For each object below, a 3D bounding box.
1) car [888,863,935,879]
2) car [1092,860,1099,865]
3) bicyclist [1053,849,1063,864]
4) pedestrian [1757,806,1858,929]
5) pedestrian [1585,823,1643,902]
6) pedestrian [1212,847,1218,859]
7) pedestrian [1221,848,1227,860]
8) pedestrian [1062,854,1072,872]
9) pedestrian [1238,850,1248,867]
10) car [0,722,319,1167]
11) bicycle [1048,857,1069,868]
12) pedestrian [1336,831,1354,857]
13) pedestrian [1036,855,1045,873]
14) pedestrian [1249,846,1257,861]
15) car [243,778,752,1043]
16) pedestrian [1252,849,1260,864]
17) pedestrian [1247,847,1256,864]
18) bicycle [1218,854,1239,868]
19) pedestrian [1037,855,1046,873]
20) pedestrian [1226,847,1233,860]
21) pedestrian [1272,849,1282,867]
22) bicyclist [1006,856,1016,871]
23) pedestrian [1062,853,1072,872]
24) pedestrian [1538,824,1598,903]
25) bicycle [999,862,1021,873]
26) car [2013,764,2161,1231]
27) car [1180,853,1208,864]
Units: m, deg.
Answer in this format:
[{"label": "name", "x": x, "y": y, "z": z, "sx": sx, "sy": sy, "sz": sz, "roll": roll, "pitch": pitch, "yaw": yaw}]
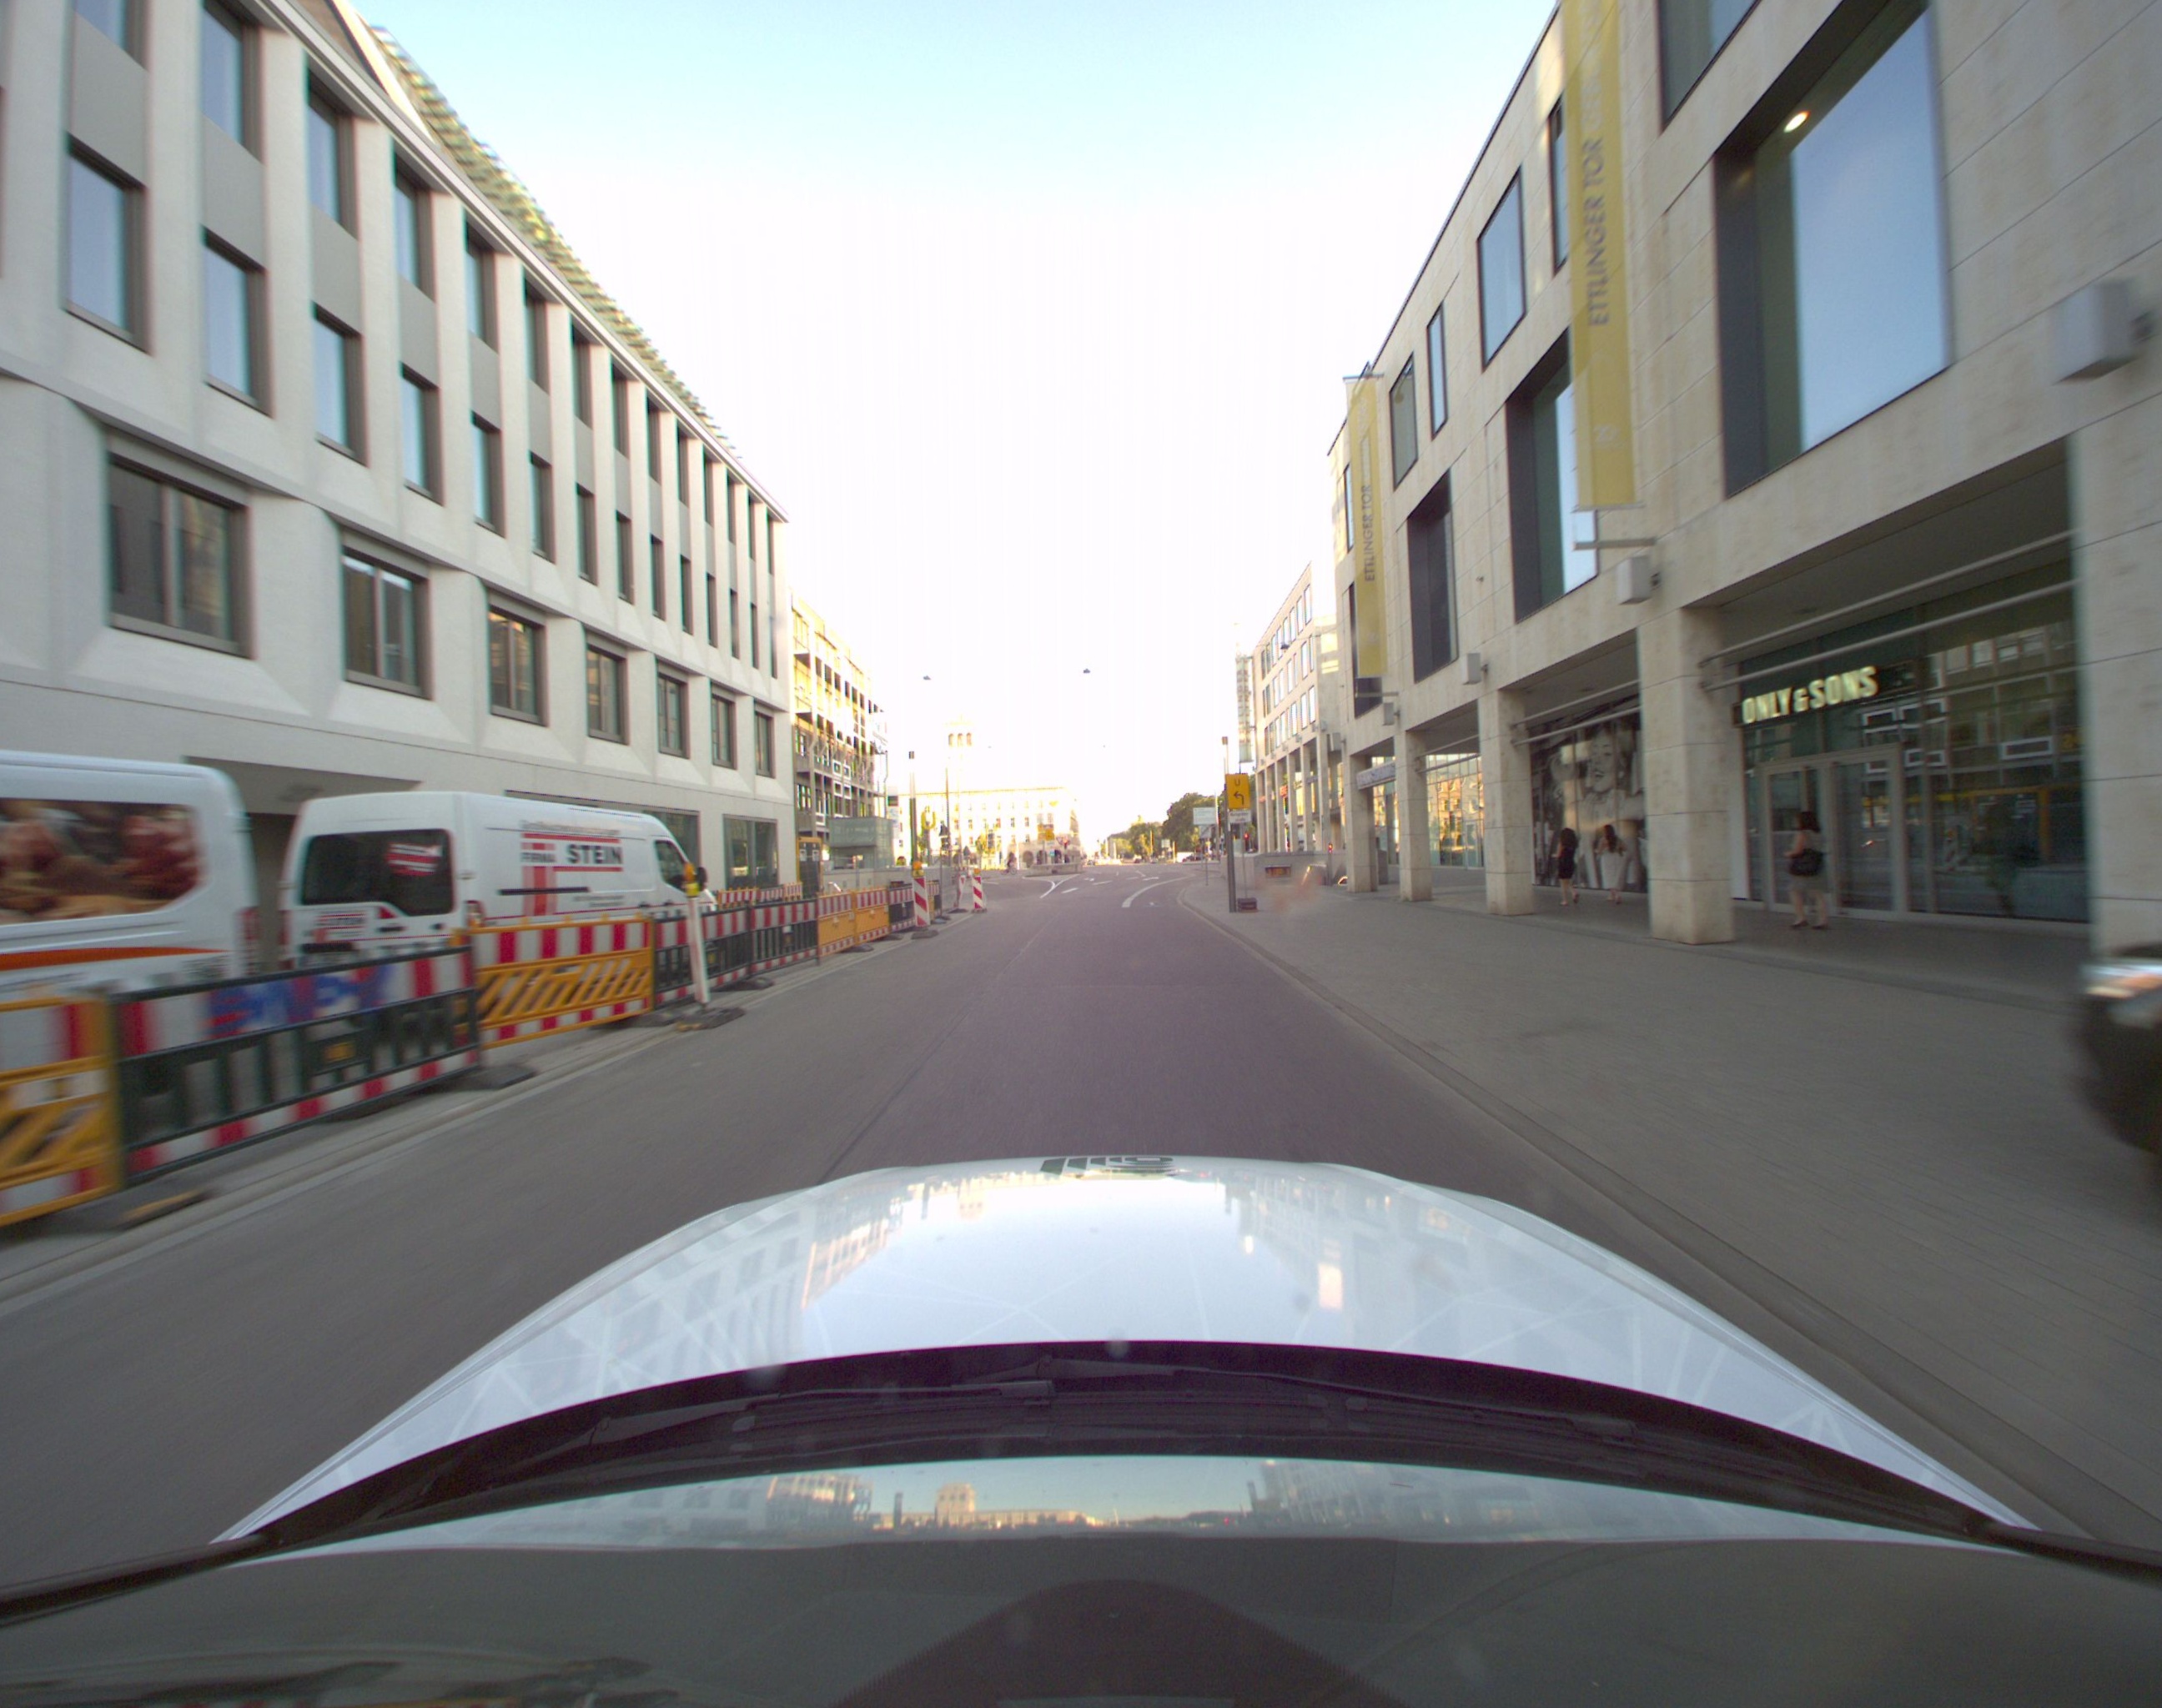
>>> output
[{"label": "car", "x": -19.318, "y": 1.927, "z": 92.927, "sx": 4.778, "sy": 1.496, "sz": 2.129, "roll": -2, "pitch": 0, "yaw": 2}, {"label": "car", "x": 4.451, "y": 2.641, "z": 249.313, "sx": 1.984, "sy": 1.519, "sz": 4.005, "roll": -3, "pitch": 0, "yaw": 4}, {"label": "bicyclist", "x": -2.469, "y": 0.278, "z": 88.112, "sx": 1.015, "sy": 1.621, "sz": 0.654, "roll": -2, "pitch": 0, "yaw": 2}, {"label": "pedestrian", "x": 9.702, "y": 0.163, "z": 10.900, "sx": 0.631, "sy": 1.567, "sz": 0.775, "roll": -2, "pitch": 1, "yaw": 2}, {"label": "pedestrian", "x": 10.741, "y": 0.165, "z": 16.431, "sx": 0.631, "sy": 1.542, "sz": 0.775, "roll": -2, "pitch": -1, "yaw": 2}, {"label": "pedestrian", "x": 19.210, "y": -0.109, "z": 116.786, "sx": 0.805, "sy": 1.730, "sz": 0.688, "roll": -2, "pitch": 0, "yaw": 1}, {"label": "pedestrian", "x": 20.543, "y": -0.035, "z": 116.894, "sx": 0.802, "sy": 1.730, "sz": 0.691, "roll": -2, "pitch": 0, "yaw": 15}, {"label": "pedestrian", "x": -1.375, "y": 0.889, "z": 80.459, "sx": 0.739, "sy": 1.777, "sz": 0.859, "roll": -1, "pitch": 0, "yaw": -13}, {"label": "pedestrian", "x": 17.670, "y": 0.483, "z": 88.788, "sx": 0.857, "sy": 1.777, "sz": 0.741, "roll": -5, "pitch": 0, "yaw": 3}, {"label": "car", "x": -7.154, "y": 0.528, "z": 3.340, "sx": 2.165, "sy": 2.470, "sz": 6.003, "roll": -2, "pitch": 0, "yaw": 3}, {"label": "bicycle", "x": -2.425, "y": 0.886, "z": 88.099, "sx": 2.233, "sy": 1.062, "sz": 0.654, "roll": -2, "pitch": 0, "yaw": 2}, {"label": "pedestrian", "x": 19.140, "y": -0.717, "z": 59.031, "sx": 0.857, "sy": 1.777, "sz": 0.991, "roll": -4, "pitch": 0, "yaw": 1}, {"label": "pedestrian", "x": -4.065, "y": 0.999, "z": 81.993, "sx": 0.736, "sy": 1.777, "sz": 0.863, "roll": -5, "pitch": 0, "yaw": 0}, {"label": "pedestrian", "x": 20.455, "y": -0.061, "z": 96.912, "sx": 0.830, "sy": 1.730, "sz": 0.690, "roll": -2, "pitch": 0, "yaw": 11}, {"label": "car", "x": -6.808, "y": 0.551, "z": 10.790, "sx": 2.165, "sy": 2.470, "sz": 6.002, "roll": -2, "pitch": 0, "yaw": 2}, {"label": "pedestrian", "x": 20.232, "y": 0.258, "z": 94.273, "sx": 0.688, "sy": 1.730, "sz": 0.742, "roll": -2, "pitch": 0, "yaw": 4}, {"label": "pedestrian", "x": 18.528, "y": 0.190, "z": 88.355, "sx": 0.753, "sy": 1.777, "sz": 0.741, "roll": -5, "pitch": 0, "yaw": 3}, {"label": "bicycle", "x": 13.110, "y": 0.641, "z": 72.391, "sx": 1.803, "sy": 1.212, "sz": 0.573, "roll": -2, "pitch": 0, "yaw": 18}, {"label": "pedestrian", "x": -4.038, "y": 0.980, "z": 83.156, "sx": 0.736, "sy": 1.777, "sz": 0.863, "roll": -5, "pitch": 0, "yaw": 0}, {"label": "pedestrian", "x": 21.296, "y": -0.047, "z": 116.778, "sx": 0.812, "sy": 1.730, "sz": 0.682, "roll": -2, "pitch": 0, "yaw": -26}, {"label": "pedestrian", "x": 20.548, "y": 0.397, "z": 85.347, "sx": 0.888, "sy": 1.840, "sz": 0.689, "roll": -2, "pitch": 0, "yaw": 5}, {"label": "bicyclist", "x": -7.564, "y": 1.038, "z": 87.819, "sx": 0.875, "sy": 1.531, "sz": 0.654, "roll": -2, "pitch": 0, "yaw": 4}, {"label": "pedestrian", "x": -1.346, "y": 0.858, "z": 79.518, "sx": 0.738, "sy": 1.777, "sz": 0.861, "roll": -4, "pitch": 0, "yaw": -7}, {"label": "pedestrian", "x": 9.799, "y": 0.183, "z": 16.410, "sx": 0.721, "sy": 1.542, "sz": 0.729, "roll": -2, "pitch": -1, "yaw": 2}, {"label": "bicycle", "x": -7.658, "y": 1.473, "z": 87.819, "sx": 2.232, "sy": 1.062, "sz": 0.654, "roll": -2, "pitch": 0, "yaw": 4}, {"label": "car", "x": 4.522, "y": 0.422, "z": 1.144, "sx": 1.761, "sy": 1.637, "sz": 4.060, "roll": -5, "pitch": -1, "yaw": 3}, {"label": "car", "x": 17.296, "y": 0.738, "z": 124.796, "sx": 3.985, "sy": 1.494, "sz": 1.823, "roll": -2, "pitch": 0, "yaw": -8}]
